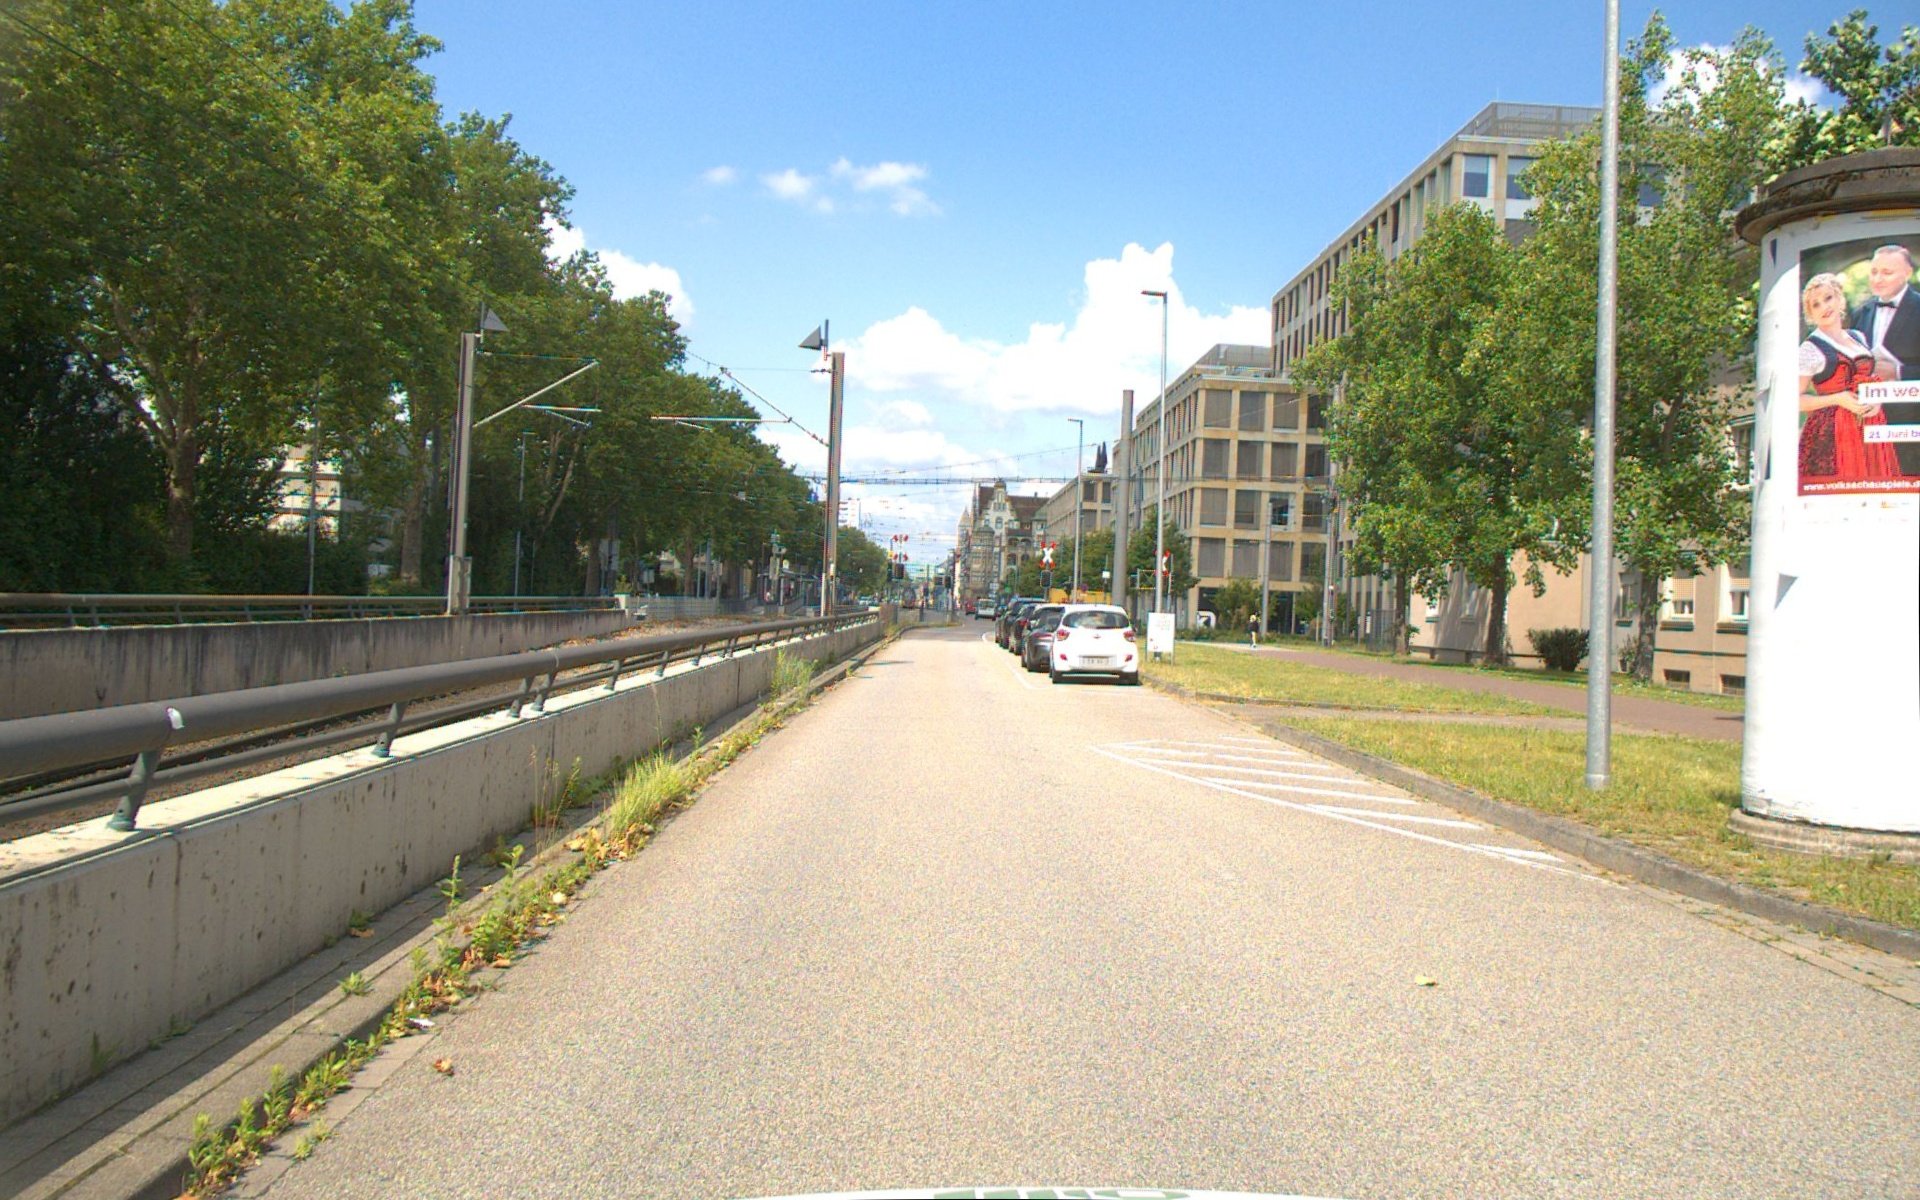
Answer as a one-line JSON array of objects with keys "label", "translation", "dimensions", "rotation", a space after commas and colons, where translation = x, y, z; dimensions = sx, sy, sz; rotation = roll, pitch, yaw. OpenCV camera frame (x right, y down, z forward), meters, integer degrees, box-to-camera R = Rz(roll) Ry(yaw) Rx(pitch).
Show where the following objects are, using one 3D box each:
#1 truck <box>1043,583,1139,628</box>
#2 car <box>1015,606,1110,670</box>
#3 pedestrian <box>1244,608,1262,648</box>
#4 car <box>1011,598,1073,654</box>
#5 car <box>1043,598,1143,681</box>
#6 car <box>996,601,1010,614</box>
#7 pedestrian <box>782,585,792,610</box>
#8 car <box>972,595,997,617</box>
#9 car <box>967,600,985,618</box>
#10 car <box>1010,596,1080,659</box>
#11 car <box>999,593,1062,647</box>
[{"label": "truck", "translation": [9.657, 0.417, 121.973], "dimensions": [6.671, 2.917, 2.453], "rotation": [3, -1, -4]}, {"label": "car", "translation": [2.294, 0.827, 37.939], "dimensions": [1.787, 1.335, 4.441], "rotation": [2, 0, -1]}, {"label": "pedestrian", "translation": [12.278, 1.178, 69.300], "dimensions": [0.610, 1.636, 0.624], "rotation": [1, -1, -4]}, {"label": "car", "translation": [2.381, 0.739, 48.907], "dimensions": [1.611, 1.557, 4.442], "rotation": [1, 0, 0]}, {"label": "car", "translation": [2.588, 0.751, 32.960], "dimensions": [1.672, 1.505, 3.789], "rotation": [1, 0, 0]}, {"label": "car", "translation": [5.414, 0.892, 206.588], "dimensions": [1.559, 1.485, 3.612], "rotation": [4, 0, 0]}, {"label": "pedestrian", "translation": [-13.188, -0.170, 126.302], "dimensions": [0.692, 1.877, 0.864], "rotation": [1, -1, -2]}, {"label": "car", "translation": [2.136, 0.567, 145.214], "dimensions": [1.831, 1.777, 3.998], "rotation": [4, 0, -2]}, {"label": "car", "translation": [1.913, 1.100, 197.148], "dimensions": [1.953, 2.049, 3.999], "rotation": [1, -1, -1]}, {"label": "car", "translation": [2.174, 0.691, 43.016], "dimensions": [1.635, 1.541, 3.851], "rotation": [1, 0, 1]}, {"label": "car", "translation": [2.312, 0.635, 55.067], "dimensions": [1.779, 1.691, 4.669], "rotation": [1, 0, -1]}]
